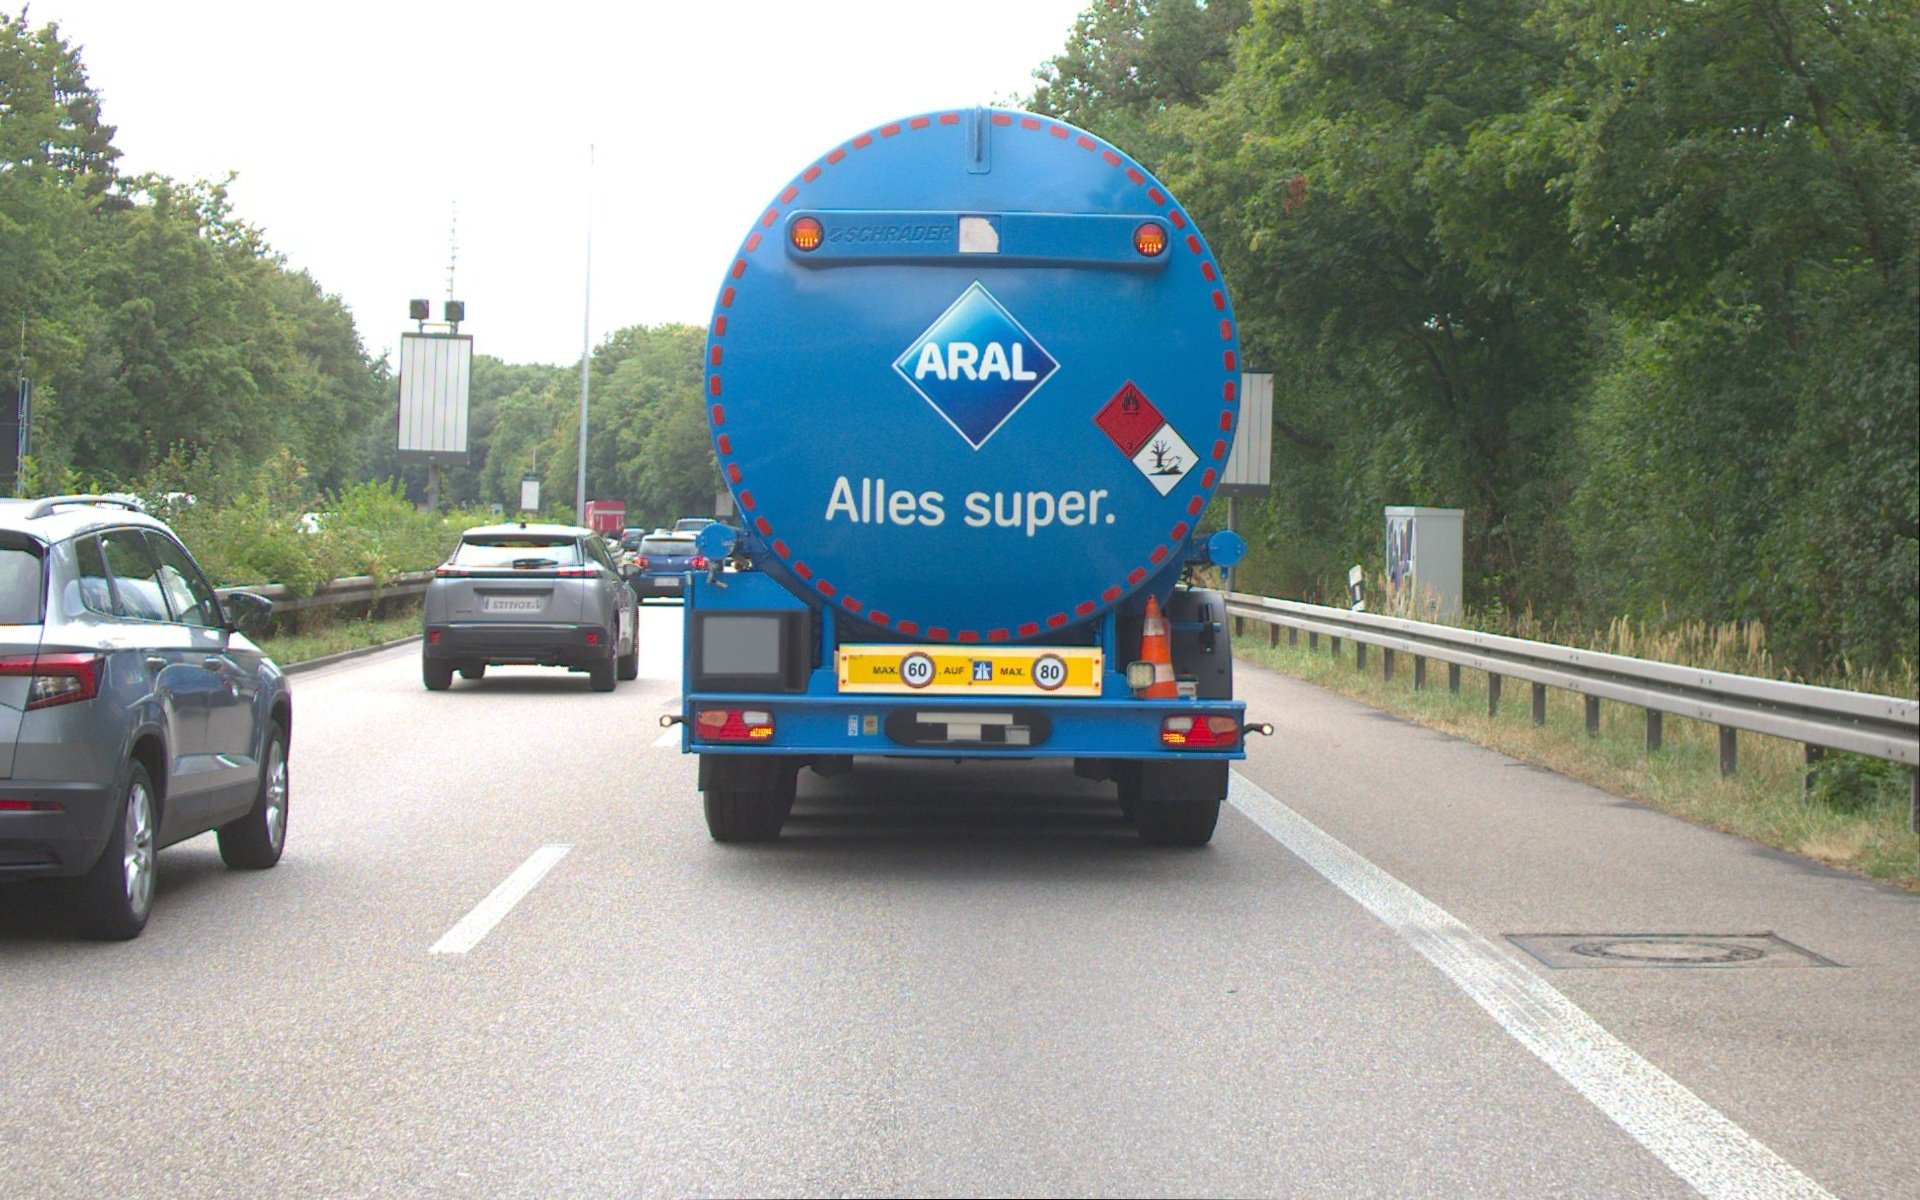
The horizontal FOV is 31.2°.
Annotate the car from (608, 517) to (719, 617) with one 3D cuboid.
[{"bbox_3d":[-6.135,-0.690,71.561,1.993,2.007,4.000,1,1,-1],"label":"car"}]

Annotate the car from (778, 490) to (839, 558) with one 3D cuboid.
[{"bbox_3d":[-5.116,-2.555,116.640,1.993,2.237,4.000,1,1,-2],"label":"car"}]

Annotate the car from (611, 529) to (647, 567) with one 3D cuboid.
[{"bbox_3d":[-19.769,-3.091,205.292,1.993,2.237,4.001,1,1,-8],"label":"car"}]

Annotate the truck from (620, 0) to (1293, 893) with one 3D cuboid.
[{"bbox_3d":[-0.057,-0.762,18.189,2.755,3.833,7.689,1,1,-1],"label":"truck"}]

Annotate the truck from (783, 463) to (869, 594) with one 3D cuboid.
[{"bbox_3d":[-3.307,-1.761,85.633,1.993,3.082,7.816,1,1,-2],"label":"truck"}]

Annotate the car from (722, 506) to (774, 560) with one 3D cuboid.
[{"bbox_3d":[-9.076,-2.851,147.364,1.993,2.237,4.000,1,1,-1],"label":"car"}]

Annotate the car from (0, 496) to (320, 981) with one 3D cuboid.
[{"bbox_3d":[-3.795,0.421,13.469,1.826,1.604,4.167,1,1,-1],"label":"car"}]

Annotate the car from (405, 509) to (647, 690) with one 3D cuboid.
[{"bbox_3d":[-4.096,-0.027,33.047,1.826,1.604,4.167,1,1,-1],"label":"car"}]
